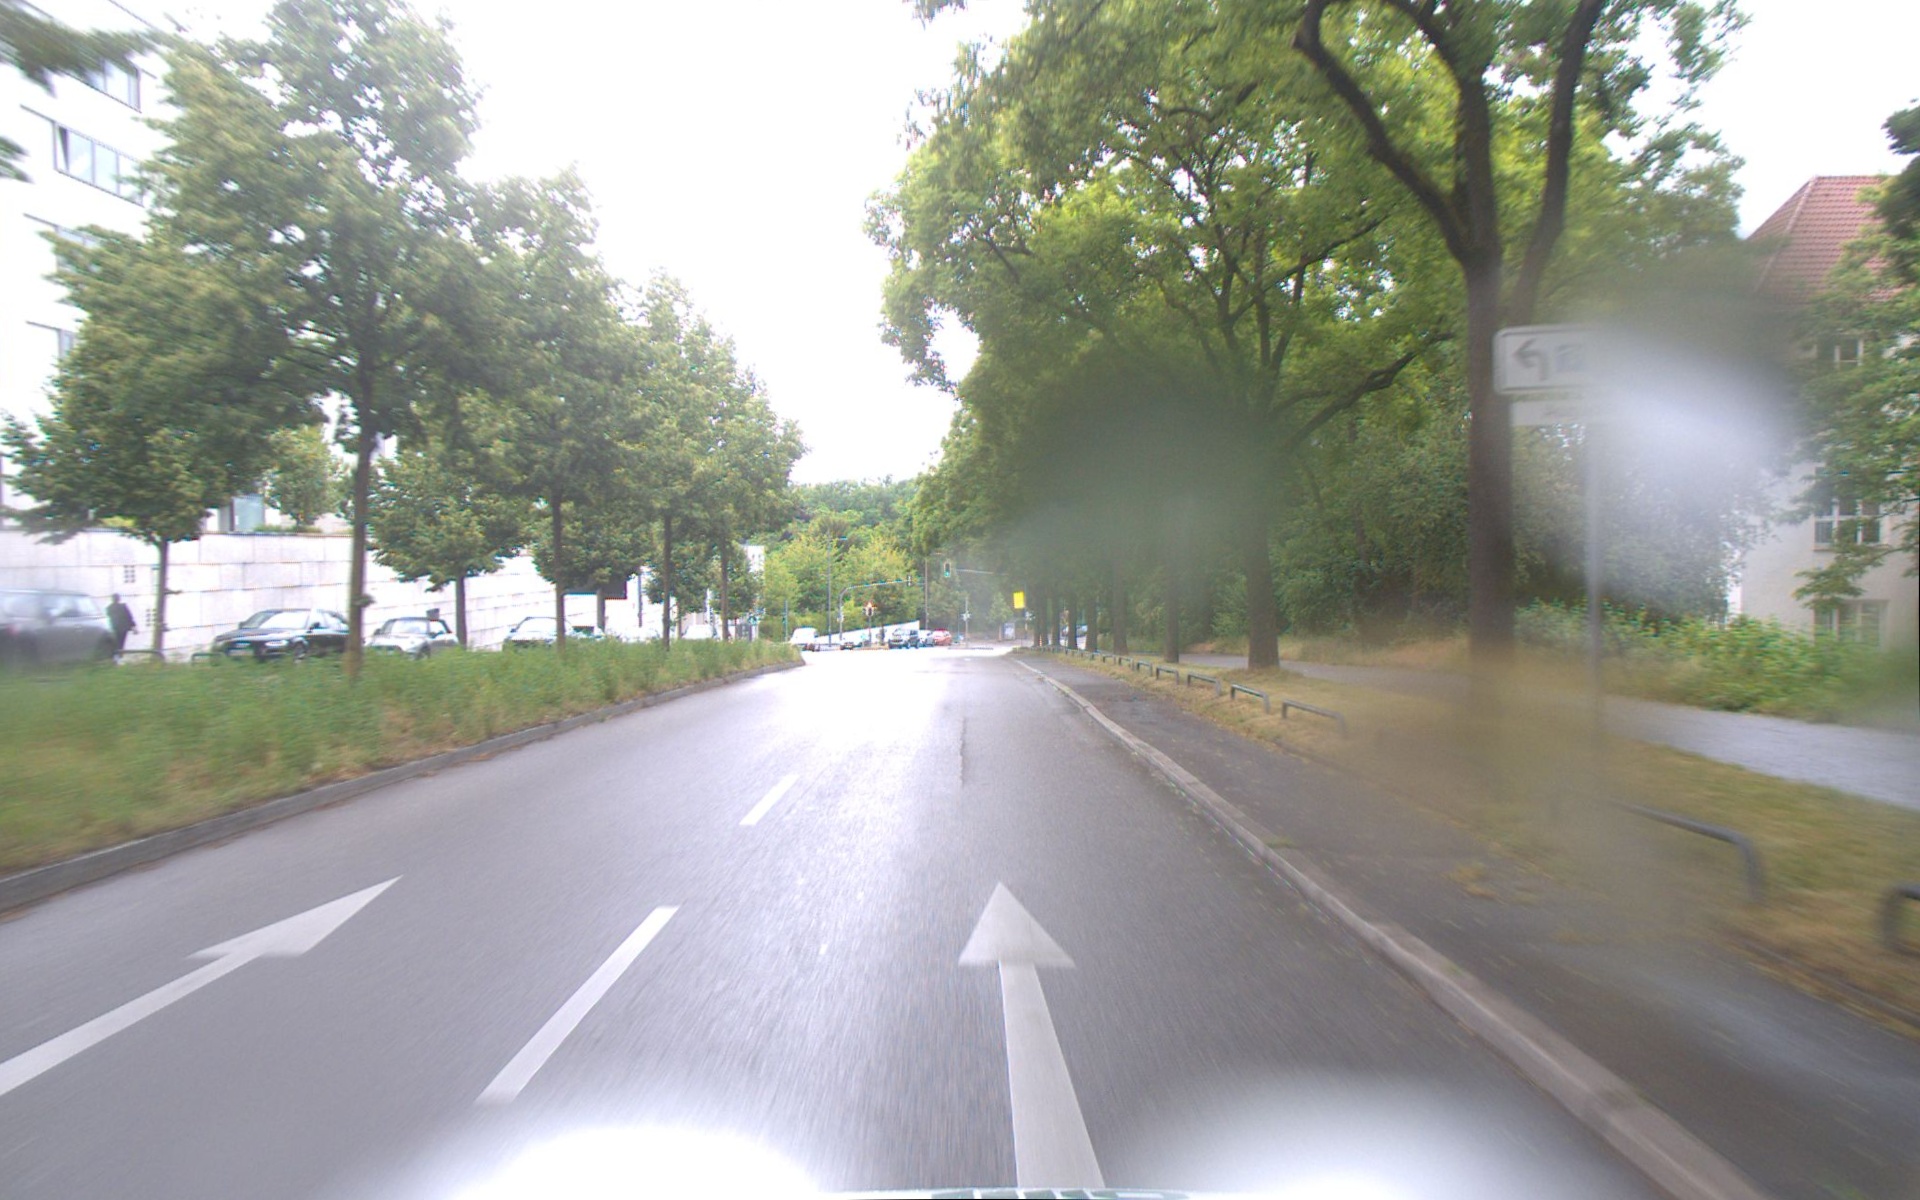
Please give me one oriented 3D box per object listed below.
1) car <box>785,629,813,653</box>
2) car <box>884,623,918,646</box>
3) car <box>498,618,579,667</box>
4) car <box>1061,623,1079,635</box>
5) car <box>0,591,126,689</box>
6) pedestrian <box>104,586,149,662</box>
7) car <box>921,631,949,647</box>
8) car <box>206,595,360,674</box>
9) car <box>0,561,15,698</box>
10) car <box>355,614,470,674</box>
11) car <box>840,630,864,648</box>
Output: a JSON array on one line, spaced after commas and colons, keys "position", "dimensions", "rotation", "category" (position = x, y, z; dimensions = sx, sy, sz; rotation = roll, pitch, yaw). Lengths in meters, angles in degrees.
[{"position": [-11.868, 3.020, 122.386], "dimensions": [1.675, 1.777, 4.336], "rotation": [-1, -1, -1], "category": "car"}, {"position": [-5.496, 3.220, 154.690], "dimensions": [1.880, 1.889, 4.510], "rotation": [-5, -1, 13], "category": "car"}, {"position": [-14.687, 1.490, 57.834], "dimensions": [1.668, 1.649, 4.361], "rotation": [0, -2, 0], "category": "car"}, {"position": [15.179, 4.001, 228.288], "dimensions": [1.677, 1.486, 3.751], "rotation": [0, -2, 19], "category": "car"}, {"position": [-14.644, 0.579, 25.540], "dimensions": [1.660, 1.409, 3.697], "rotation": [1, -1, -1], "category": "car"}, {"position": [-20.064, 0.581, 39.822], "dimensions": [0.704, 1.806, 0.691], "rotation": [0, -1, -1], "category": "pedestrian"}, {"position": [-2.609, 4.192, 176.096], "dimensions": [1.835, 1.602, 4.225], "rotation": [2, -1, 15], "category": "car"}, {"position": [-14.639, 0.715, 35.987], "dimensions": [1.660, 1.609, 4.017], "rotation": [0, 0, 1], "category": "car"}, {"position": [-12.055, 0.355, 17.612], "dimensions": [1.660, 1.609, 4.017], "rotation": [2, 1, -1], "category": "car"}, {"position": [-14.647, 1.140, 44.425], "dimensions": [1.659, 1.469, 3.861], "rotation": [1, 0, 2], "category": "car"}, {"position": [-9.036, 3.303, 138.748], "dimensions": [1.734, 1.405, 4.189], "rotation": [-2, -1, 0], "category": "car"}]
